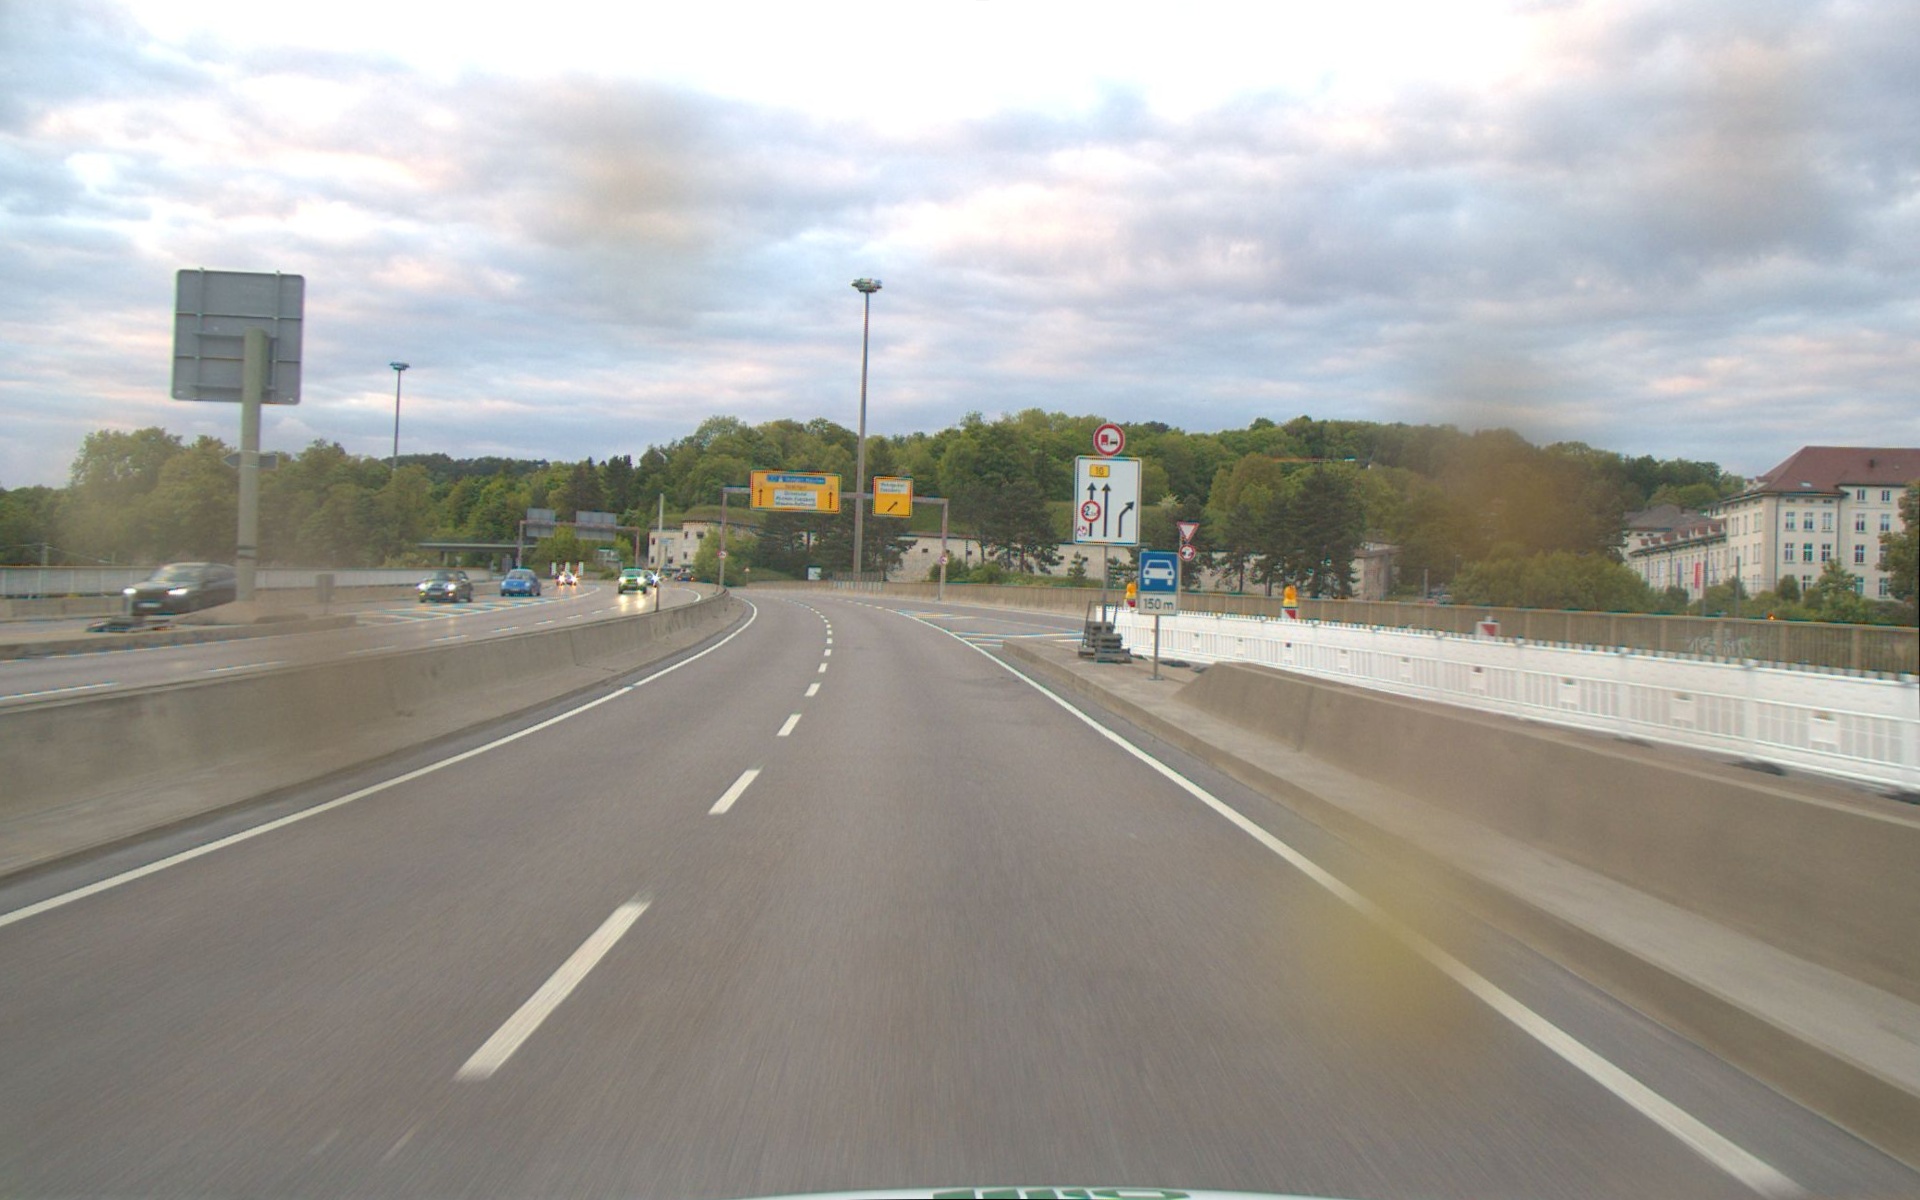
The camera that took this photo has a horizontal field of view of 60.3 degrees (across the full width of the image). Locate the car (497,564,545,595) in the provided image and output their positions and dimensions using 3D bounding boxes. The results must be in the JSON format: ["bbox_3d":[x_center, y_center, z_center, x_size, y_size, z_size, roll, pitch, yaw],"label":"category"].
[{"bbox_3d":[-24.410,-1.146,92.121,1.861,1.624,4.158,1,1,-5],"label":"car"}]

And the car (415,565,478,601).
[{"bbox_3d":[-22.817,-0.746,73.616,1.760,1.512,3.839,2,0,-3],"label":"car"}]

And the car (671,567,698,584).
[{"bbox_3d":[-32.204,-2.843,193.071,2.271,1.794,4.237,2,0,-20],"label":"car"}]

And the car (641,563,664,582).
[{"bbox_3d":[-27.687,-2.483,148.906,1.780,1.561,4.530,2,0,-13],"label":"car"}]

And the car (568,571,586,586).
[{"bbox_3d":[-39.949,-2.246,172.269,1.702,1.502,4.208,2,0,-14],"label":"car"}]

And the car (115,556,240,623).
[{"bbox_3d":[-22.035,-0.278,46.743,1.603,1.747,4.000,2,0,0],"label":"car"}]

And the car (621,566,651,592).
[{"bbox_3d":[-20.598,-1.336,105.362,1.679,1.520,4.072,2,0,-9],"label":"car"}]
